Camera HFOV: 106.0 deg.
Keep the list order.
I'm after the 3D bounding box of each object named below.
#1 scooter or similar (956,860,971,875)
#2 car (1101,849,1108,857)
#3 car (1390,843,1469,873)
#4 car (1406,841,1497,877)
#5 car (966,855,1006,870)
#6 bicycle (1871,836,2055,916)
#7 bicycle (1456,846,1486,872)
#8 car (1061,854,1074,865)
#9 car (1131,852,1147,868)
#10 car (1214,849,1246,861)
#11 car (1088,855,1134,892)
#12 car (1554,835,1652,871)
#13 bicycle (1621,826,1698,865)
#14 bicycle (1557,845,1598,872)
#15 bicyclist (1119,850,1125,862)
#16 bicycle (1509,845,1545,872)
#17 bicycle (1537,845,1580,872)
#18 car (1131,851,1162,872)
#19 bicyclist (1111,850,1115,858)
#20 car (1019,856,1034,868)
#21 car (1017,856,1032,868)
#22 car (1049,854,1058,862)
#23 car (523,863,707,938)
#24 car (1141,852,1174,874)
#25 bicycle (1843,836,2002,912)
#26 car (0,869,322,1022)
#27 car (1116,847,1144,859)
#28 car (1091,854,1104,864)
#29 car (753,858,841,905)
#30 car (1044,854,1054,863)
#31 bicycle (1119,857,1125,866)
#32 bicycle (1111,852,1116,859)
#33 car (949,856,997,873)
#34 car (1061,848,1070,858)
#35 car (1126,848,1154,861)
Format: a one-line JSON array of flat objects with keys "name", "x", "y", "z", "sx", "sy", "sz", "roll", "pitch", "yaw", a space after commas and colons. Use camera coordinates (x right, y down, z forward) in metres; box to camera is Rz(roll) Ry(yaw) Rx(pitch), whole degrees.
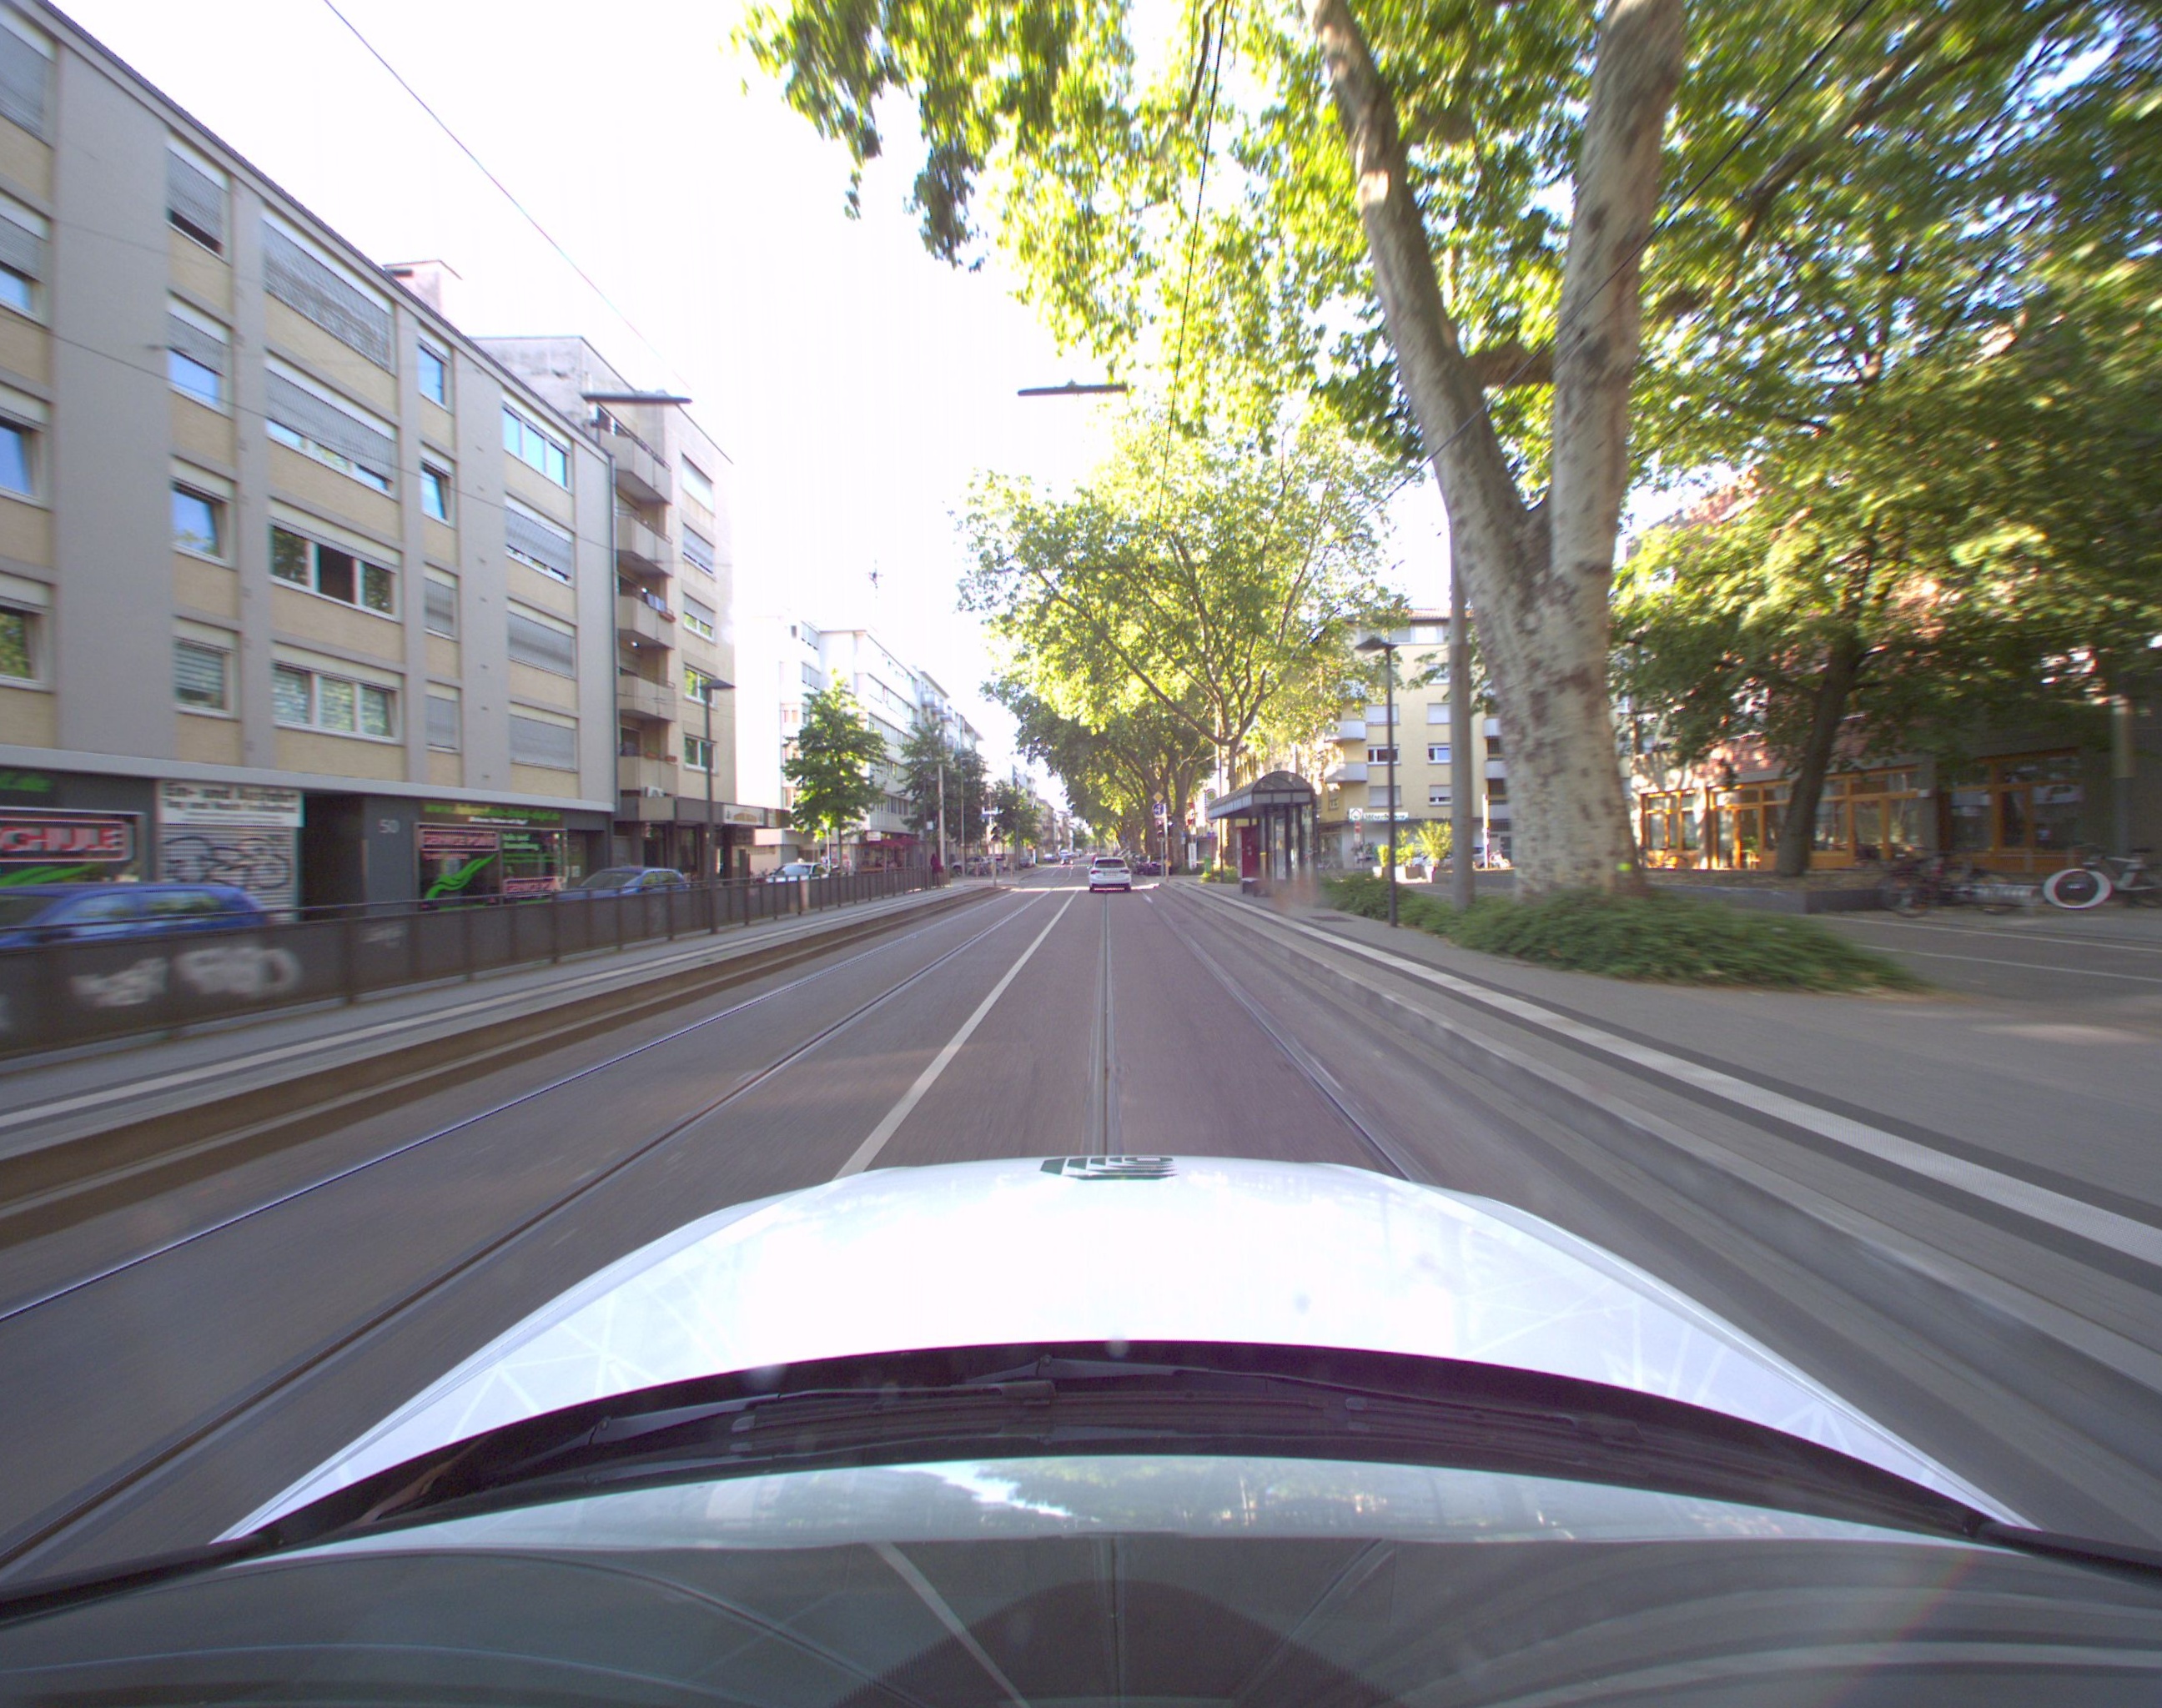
[{"name": "scooter or similar", "x": -9.054, "y": 1.028, "z": 62.818, "sx": 1.076, "sy": 1.176, "sz": 0.498, "roll": 0, "pitch": -1, "yaw": 0}, {"name": "car", "x": 7.226, "y": -0.357, "z": 254.049, "sx": 2.194, "sy": 2.388, "sz": 4.002, "roll": -1, "pitch": 0, "yaw": 2}, {"name": "car", "x": 20.624, "y": 0.234, "z": 48.287, "sx": 3.848, "sy": 1.552, "sz": 1.867, "roll": -2, "pitch": 2, "yaw": 1}, {"name": "car", "x": 19.242, "y": 0.260, "z": 42.419, "sx": 3.848, "sy": 1.693, "sz": 1.866, "roll": -2, "pitch": 0, "yaw": 1}, {"name": "car", "x": -9.915, "y": 0.904, "z": 84.961, "sx": 4.001, "sy": 1.475, "sz": 1.851, "roll": 0, "pitch": -1, "yaw": -2}, {"name": "bicycle", "x": 14.086, "y": 0.347, "z": 13.057, "sx": 2.018, "sy": 1.156, "sz": 0.574, "roll": -3, "pitch": 0, "yaw": 11}, {"name": "bicycle", "x": 17.990, "y": 0.223, "z": 37.582, "sx": 0.597, "sy": 1.156, "sz": 1.700, "roll": -3, "pitch": 0, "yaw": 5}, {"name": "car", "x": -2.045, "y": 0.863, "z": 123.571, "sx": 1.865, "sy": 1.590, "sz": 4.146, "roll": 1, "pitch": 0, "yaw": 0}, {"name": "car", "x": 5.944, "y": 0.624, "z": 83.639, "sx": 1.557, "sy": 1.519, "sz": 2.913, "roll": -3, "pitch": -1, "yaw": 4}, {"name": "car", "x": 21.264, "y": 0.109, "z": 116.492, "sx": 4.123, "sy": 1.593, "sz": 1.997, "roll": -1, "pitch": 0, "yaw": -4}, {"name": "car", "x": 1.203, "y": 0.770, "z": 33.962, "sx": 1.756, "sy": 1.384, "sz": 4.000, "roll": -2, "pitch": 0, "yaw": 0}, {"name": "car", "x": 27.169, "y": -0.044, "z": 42.474, "sx": 3.848, "sy": 1.693, "sz": 1.866, "roll": -2, "pitch": 0, "yaw": 1}, {"name": "bicycle", "x": 18.928, "y": -0.273, "z": 26.681, "sx": 1.913, "sy": 1.156, "sz": 0.575, "roll": -3, "pitch": 0, "yaw": 17}, {"name": "bicycle", "x": 22.544, "y": 0.182, "z": 37.014, "sx": 0.659, "sy": 1.156, "sz": 1.851, "roll": -3, "pitch": 0, "yaw": 1}, {"name": "bicyclist", "x": 5.107, "y": 0.288, "z": 100.977, "sx": 0.676, "sy": 1.443, "sz": 1.047, "roll": -2, "pitch": 0, "yaw": 2}, {"name": "bicycle", "x": 20.315, "y": 0.198, "z": 37.152, "sx": 0.633, "sy": 1.156, "sz": 1.984, "roll": -3, "pitch": 0, "yaw": 4}, {"name": "bicycle", "x": 21.596, "y": 0.191, "z": 36.899, "sx": 0.727, "sy": 1.156, "sz": 2.052, "roll": -3, "pitch": 0, "yaw": 2}, {"name": "car", "x": 4.916, "y": 0.553, "z": 61.968, "sx": 1.859, "sy": 1.437, "sz": 4.223, "roll": -2, "pitch": 0, "yaw": -2}, {"name": "bicyclist", "x": 5.898, "y": -0.044, "z": 148.106, "sx": 0.647, "sy": 1.344, "sz": 0.934, "roll": -2, "pitch": 0, "yaw": 0}, {"name": "car", "x": -7.116, "y": 0.980, "z": 106.180, "sx": 1.709, "sy": 1.464, "sz": 4.373, "roll": 2, "pitch": 0, "yaw": -2}, {"name": "car", "x": -7.040, "y": 0.954, "z": 101.391, "sx": 1.711, "sy": 1.464, "sz": 3.992, "roll": 2, "pitch": 0, "yaw": -5}, {"name": "car", "x": -5.691, "y": 0.841, "z": 166.321, "sx": 1.648, "sy": 1.437, "sz": 3.836, "roll": -1, "pitch": 0, "yaw": 0}, {"name": "car", "x": -11.476, "y": 1.074, "z": 20.488, "sx": 1.949, "sy": 1.544, "sz": 4.390, "roll": -2, "pitch": 0, "yaw": 2}, {"name": "car", "x": 5.297, "y": 0.608, "z": 56.937, "sx": 1.759, "sy": 1.462, "sz": 5.011, "roll": -2, "pitch": 0, "yaw": 0}, {"name": "bicycle", "x": 14.379, "y": 0.333, "z": 13.943, "sx": 2.023, "sy": 1.156, "sz": 0.572, "roll": -3, "pitch": 0, "yaw": 1}, {"name": "car", "x": -11.639, "y": 0.978, "z": 9.304, "sx": 1.788, "sy": 1.464, "sz": 4.284, "roll": -2, "pitch": 0, "yaw": 2}, {"name": "car", "x": 11.198, "y": -0.199, "z": 185.394, "sx": 6.111, "sy": 2.635, "sz": 2.528, "roll": -1, "pitch": 0, "yaw": -1}, {"name": "car", "x": 2.423, "y": 0.707, "z": 119.374, "sx": 1.755, "sy": 1.475, "sz": 4.001, "roll": -2, "pitch": 0, "yaw": 1}, {"name": "car", "x": -11.294, "y": 1.044, "z": 32.723, "sx": 1.871, "sy": 1.651, "sz": 4.358, "roll": -2, "pitch": 0, "yaw": 1}, {"name": "car", "x": -5.906, "y": 0.848, "z": 150.771, "sx": 1.697, "sy": 1.650, "sz": 4.241, "roll": 1, "pitch": 0, "yaw": 0}, {"name": "bicycle", "x": 5.127, "y": 0.922, "z": 101.007, "sx": 0.679, "sy": 1.071, "sz": 1.782, "roll": -2, "pitch": 0, "yaw": 2}, {"name": "bicycle", "x": 5.913, "y": 0.269, "z": 148.092, "sx": 0.647, "sy": 1.071, "sz": 1.583, "roll": -2, "pitch": 0, "yaw": 0}, {"name": "car", "x": -9.704, "y": 0.958, "z": 73.314, "sx": 3.997, "sy": 1.475, "sz": 1.852, "roll": 0, "pitch": -1, "yaw": 2}, {"name": "car", "x": -4.294, "y": -0.273, "z": 225.948, "sx": 2.334, "sy": 2.861, "sz": 4.002, "roll": -1, "pitch": 0, "yaw": 2}, {"name": "car", "x": 10.022, "y": 0.088, "z": 138.398, "sx": 4.530, "sy": 2.076, "sz": 2.000, "roll": -2, "pitch": 0, "yaw": -1}]
